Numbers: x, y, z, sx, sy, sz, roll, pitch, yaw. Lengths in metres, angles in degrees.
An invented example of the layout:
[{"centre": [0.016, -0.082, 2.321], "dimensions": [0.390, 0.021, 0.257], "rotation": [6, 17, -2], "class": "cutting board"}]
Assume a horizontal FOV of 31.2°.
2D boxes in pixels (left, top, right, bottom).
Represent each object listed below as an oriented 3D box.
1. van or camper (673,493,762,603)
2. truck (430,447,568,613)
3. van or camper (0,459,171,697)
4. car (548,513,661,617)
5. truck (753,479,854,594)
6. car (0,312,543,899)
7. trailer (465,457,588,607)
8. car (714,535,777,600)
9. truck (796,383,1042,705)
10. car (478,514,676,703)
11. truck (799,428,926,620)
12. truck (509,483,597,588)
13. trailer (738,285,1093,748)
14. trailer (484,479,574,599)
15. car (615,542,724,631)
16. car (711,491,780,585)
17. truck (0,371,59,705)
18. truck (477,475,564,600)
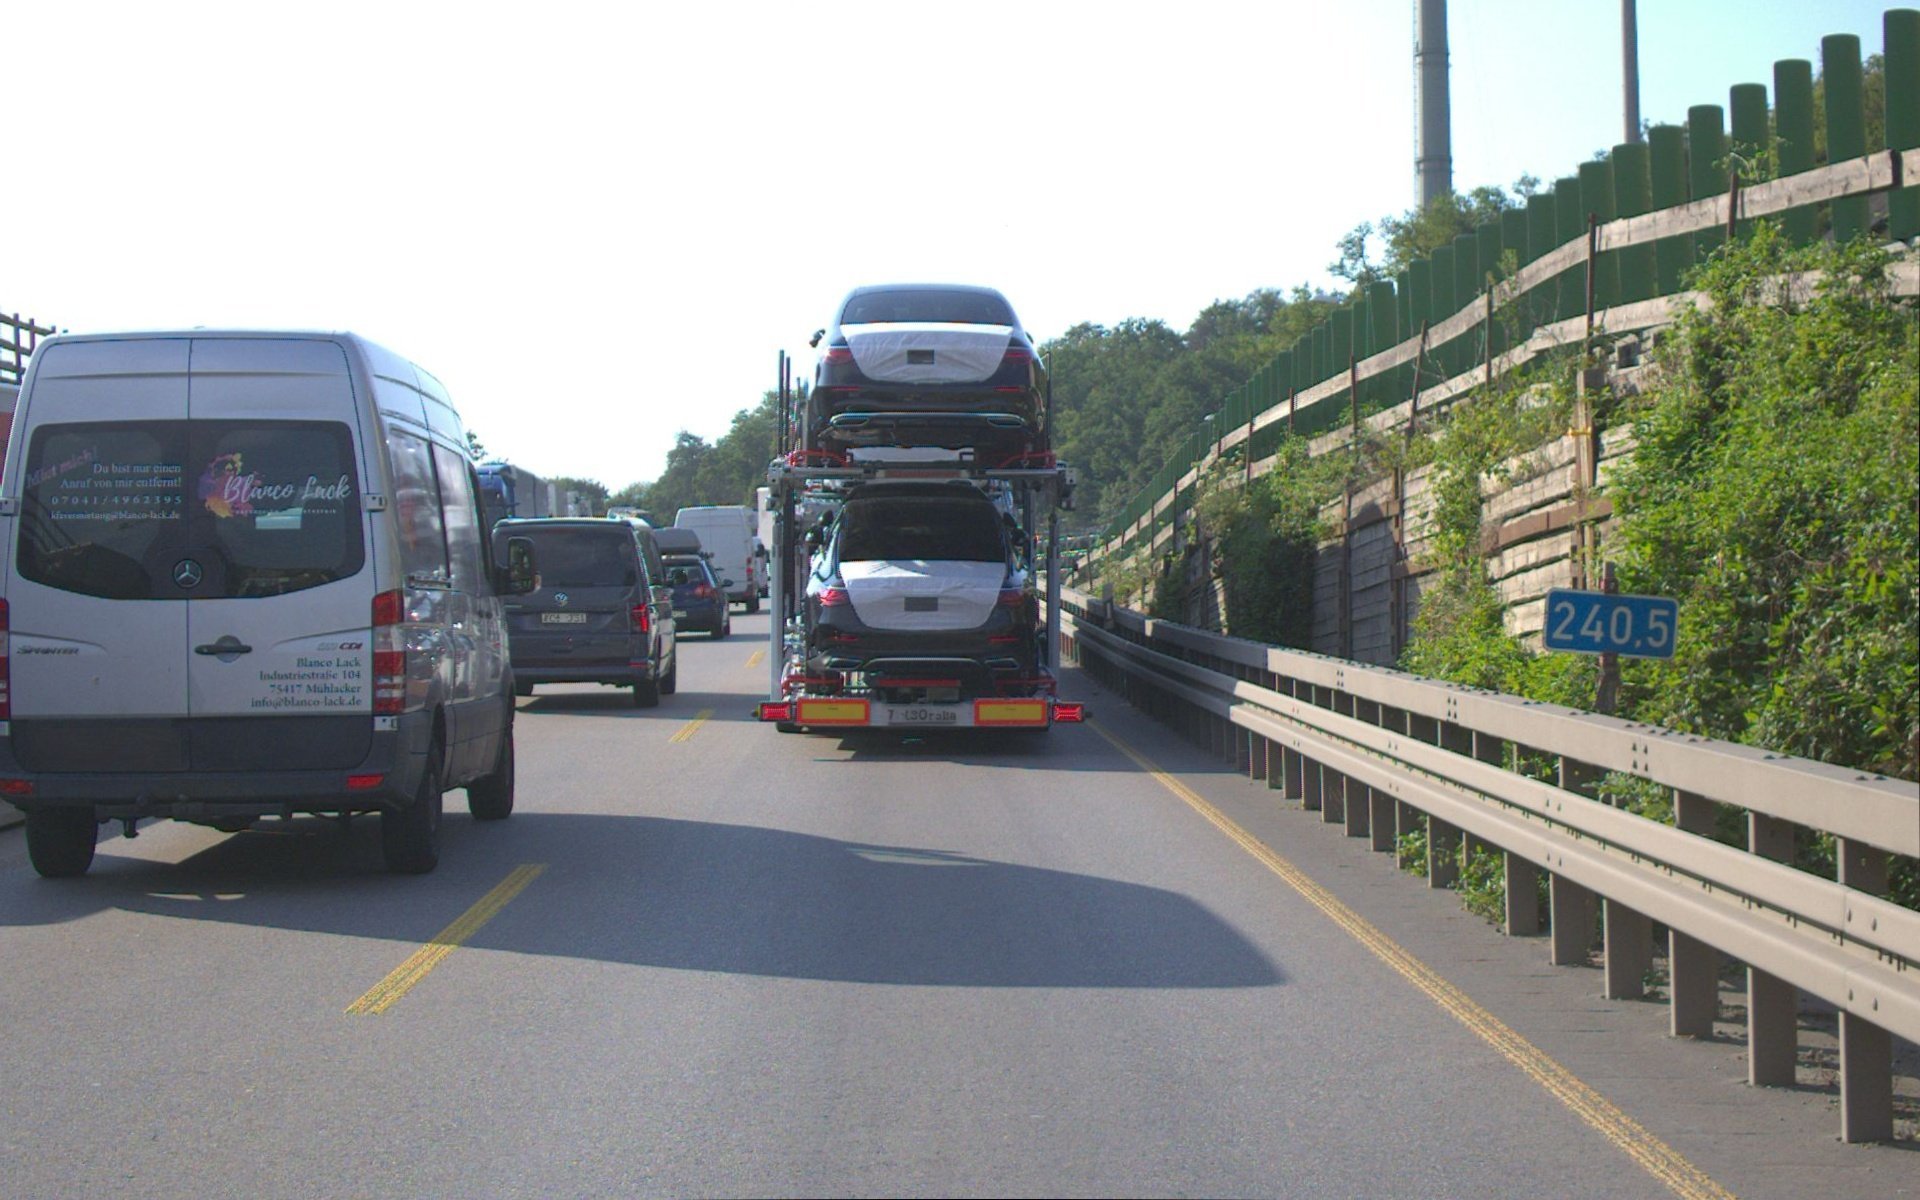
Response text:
[{"centre": [-5.918, -1.234, 84.348], "dimensions": [1.968, 2.583, 5.042], "rotation": [1, 0, -2], "class": "van or camper"}, {"centre": [-12.254, -1.847, 92.102], "dimensions": [2.624, 4.098, 9.629], "rotation": [-3, 1, -2], "class": "truck"}, {"centre": [-12.463, -0.258, 46.496], "dimensions": [2.319, 2.979, 6.224], "rotation": [-1, 0, -2], "class": "van or camper"}, {"centre": [-8.758, -0.852, 84.980], "dimensions": [2.471, 2.525, 4.000], "rotation": [0, 0, -1], "class": "car"}, {"centre": [-6.536, -2.618, 145.061], "dimensions": [4.065, 4.663, 10.593], "rotation": [0, 1, -2], "class": "truck"}, {"centre": [-3.535, -0.014, 18.315], "dimensions": [1.993, 2.639, 5.531], "rotation": [-1, 1, -1], "class": "car"}, {"centre": [-12.738, -2.029, 101.771], "dimensions": [2.605, 4.098, 9.629], "rotation": [-3, 1, -2], "class": "trailer"}, {"centre": [-7.013, -1.074, 112.739], "dimensions": [1.885, 2.093, 3.765], "rotation": [0, 0, -1], "class": "car"}, {"centre": [-0.479, -0.618, 41.556], "dimensions": [2.682, 3.523, 7.193], "rotation": [1, 0, 0], "class": "truck"}, {"centre": [-4.056, 0.106, 36.962], "dimensions": [1.808, 1.897, 4.000], "rotation": [1, -1, -2], "class": "car"}, {"centre": [-2.504, -1.850, 85.853], "dimensions": [2.907, 4.591, 7.287], "rotation": [0, 1, -4], "class": "truck"}, {"centre": [-16.993, -2.637, 144.445], "dimensions": [2.982, 4.139, 15.858], "rotation": [1, 1, -4], "class": "truck"}, {"centre": [-0.402, -0.639, 33.987], "dimensions": [2.682, 3.523, 15.288], "rotation": [1, 0, 0], "class": "trailer"}, {"centre": [-15.353, -2.164, 123.194], "dimensions": [2.709, 4.079, 12.571], "rotation": [0, 1, -5], "class": "trailer"}, {"centre": [-5.165, -0.269, 61.525], "dimensions": [1.725, 1.517, 3.973], "rotation": [1, 1, -2], "class": "car"}, {"centre": [-11.957, -3.417, 190.811], "dimensions": [3.444, 5.018, 9.654], "rotation": [1, 1, -5], "class": "car"}, {"centre": [-11.058, -0.588, 33.100], "dimensions": [2.714, 3.413, 8.141], "rotation": [-2, 0, -2], "class": "truck"}, {"centre": [-14.732, -2.085, 115.551], "dimensions": [2.709, 4.079, 6.205], "rotation": [0, 1, -5], "class": "truck"}]
